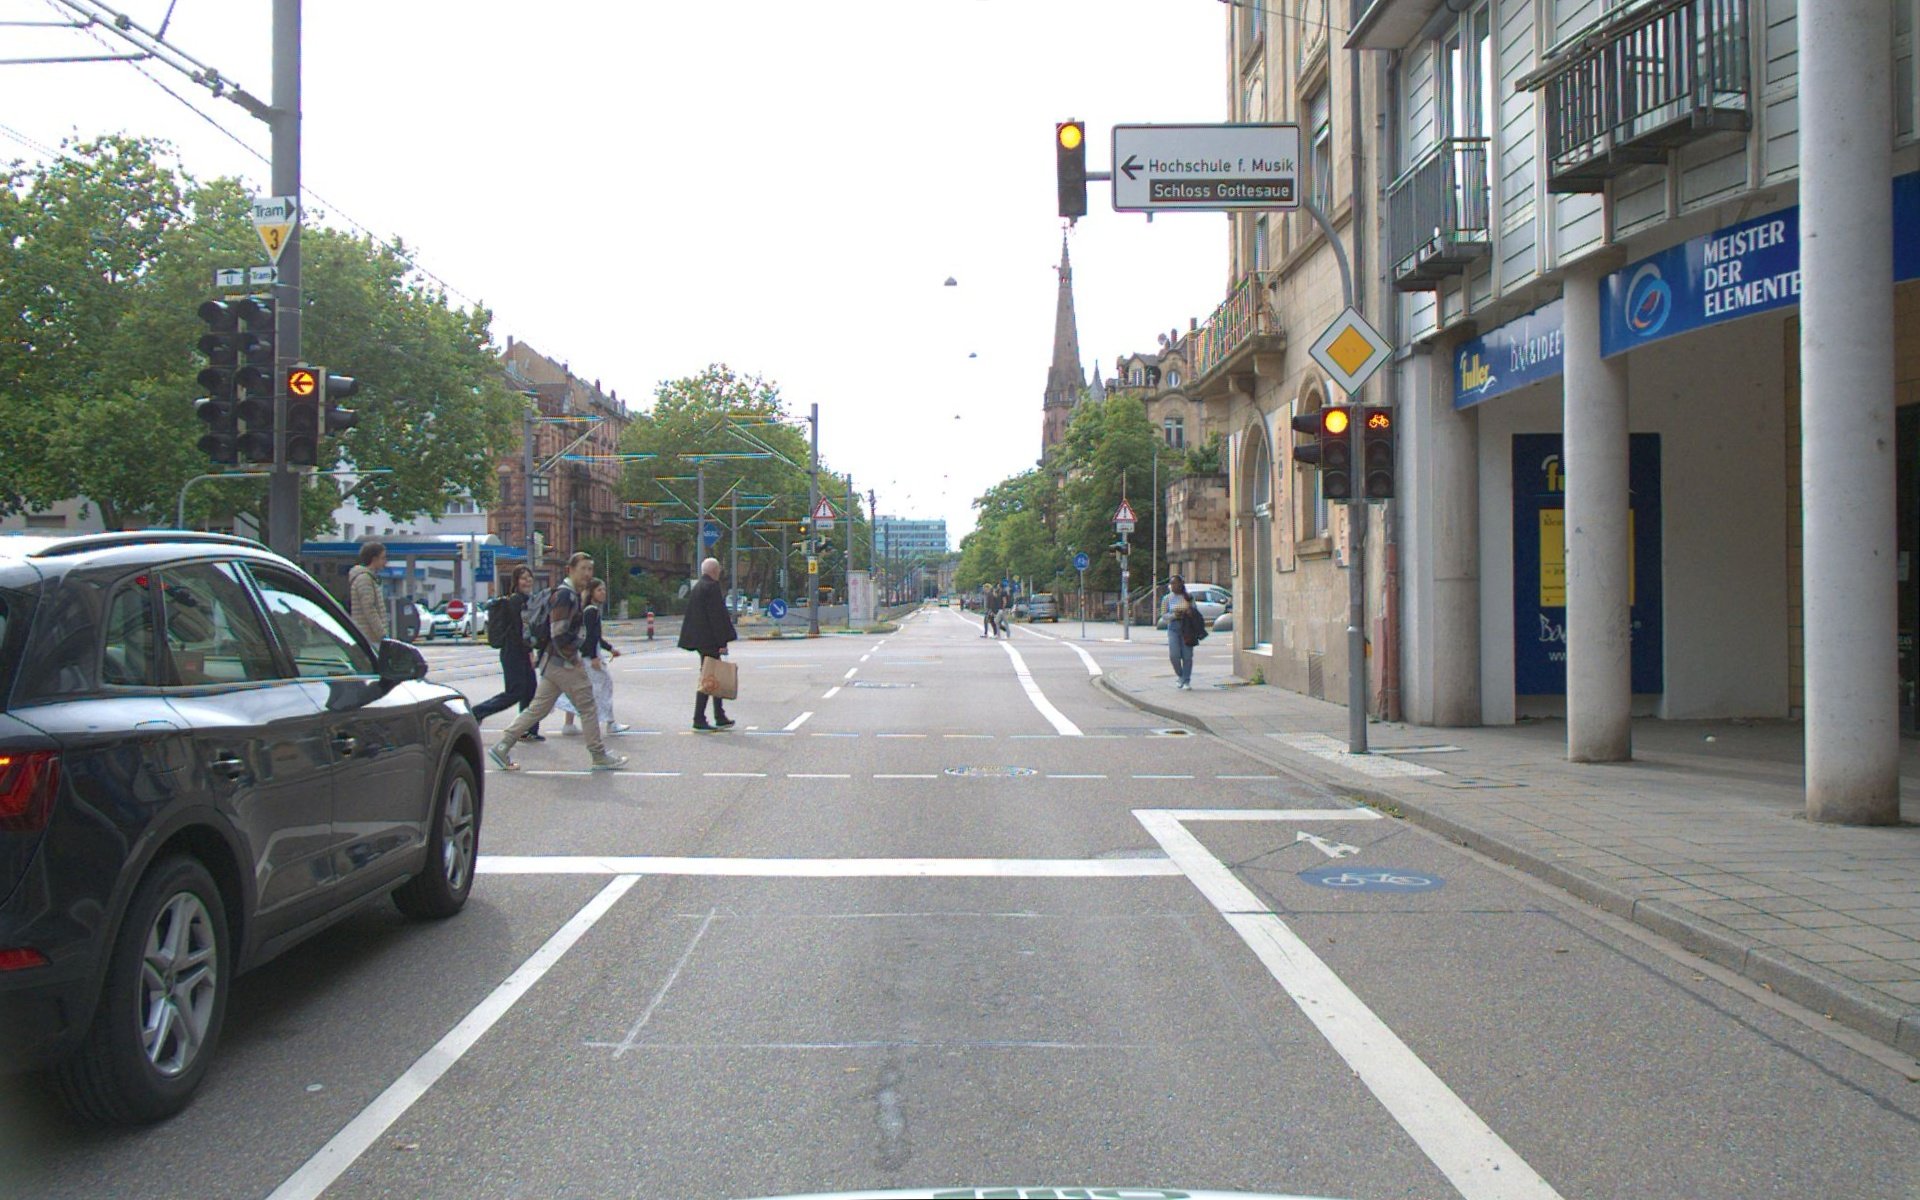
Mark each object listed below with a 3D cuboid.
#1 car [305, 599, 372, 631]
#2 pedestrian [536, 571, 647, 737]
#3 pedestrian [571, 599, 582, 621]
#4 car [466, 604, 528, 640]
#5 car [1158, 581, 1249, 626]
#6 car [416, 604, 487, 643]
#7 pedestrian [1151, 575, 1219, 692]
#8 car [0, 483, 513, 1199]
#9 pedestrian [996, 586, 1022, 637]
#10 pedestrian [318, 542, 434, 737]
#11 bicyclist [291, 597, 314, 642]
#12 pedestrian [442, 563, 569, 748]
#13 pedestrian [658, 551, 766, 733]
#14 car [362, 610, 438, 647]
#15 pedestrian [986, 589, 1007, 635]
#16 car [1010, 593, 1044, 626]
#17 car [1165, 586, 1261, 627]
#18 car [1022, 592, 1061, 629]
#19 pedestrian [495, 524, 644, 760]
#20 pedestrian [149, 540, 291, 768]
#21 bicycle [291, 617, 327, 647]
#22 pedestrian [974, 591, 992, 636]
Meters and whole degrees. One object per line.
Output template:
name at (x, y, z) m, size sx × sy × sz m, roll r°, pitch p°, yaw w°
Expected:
car at (-31.866, 0.769, 84.878) m, size 1.953 × 1.557 × 3.999 m, roll 1°, pitch 0°, yaw -1°
pedestrian at (-3.699, 0.524, 16.641) m, size 0.689 × 1.621 × 0.828 m, roll 0°, pitch 0°, yaw 36°
pedestrian at (-26.701, 0.688, 115.149) m, size 0.445 × 1.486 × 0.522 m, roll 0°, pitch -1°, yaw 44°
car at (-21.503, 0.999, 76.919) m, size 1.856 × 1.585 × 3.835 m, roll 1°, pitch 0°, yaw -1°
car at (10.775, 0.158, 73.340) m, size 3.721 × 1.937 × 2.000 m, roll 1°, pitch 0°, yaw -1°
car at (-21.495, 0.984, 69.998) m, size 1.856 × 1.585 × 3.835 m, roll 1°, pitch 0°, yaw -1°
pedestrian at (3.365, 0.490, 24.706) m, size 0.659 × 1.709 × 0.864 m, roll 0°, pitch -1°, yaw 38°
car at (-3.026, 0.555, 5.785) m, size 1.842 × 1.629 × 4.356 m, roll 0°, pitch 0°, yaw -2°
pedestrian at (1.631, 0.381, 55.127) m, size 0.834 × 1.683 × 0.508 m, roll 1°, pitch 0°, yaw -3°
pedestrian at (-5.695, 0.383, 16.122) m, size 0.998 × 1.845 × 0.580 m, roll 1°, pitch 0°, yaw -24°
bicyclist at (-23.643, 0.686, 59.500) m, size 0.576 × 1.595 × 0.618 m, roll 1°, pitch 0°, yaw -1°
pedestrian at (-4.270, 0.503, 15.585) m, size 0.614 × 1.681 × 0.995 m, roll 1°, pitch 0°, yaw 30°
pedestrian at (-2.565, 0.417, 17.093) m, size 0.900 × 1.815 × 0.645 m, roll 0°, pitch -1°, yaw 37°
car at (-21.470, 1.068, 63.521) m, size 1.601 × 1.348 × 3.999 m, roll 1°, pitch 0°, yaw -1°
pedestrian at (1.258, 0.422, 56.887) m, size 0.640 × 1.564 × 0.465 m, roll 1°, pitch 0°, yaw -5°
car at (4.217, 0.591, 104.593) m, size 1.953 × 2.049 × 3.999 m, roll 1°, pitch 0°, yaw -1°
car at (10.663, 0.274, 69.927) m, size 3.721 × 1.629 × 2.000 m, roll 1°, pitch 0°, yaw -1°
car at (4.638, 0.577, 95.091) m, size 1.953 × 2.049 × 3.999 m, roll 1°, pitch 0°, yaw -1°
pedestrian at (-3.114, 0.322, 13.179) m, size 1.113 × 1.810 × 0.625 m, roll 0°, pitch -1°, yaw -18°
pedestrian at (-5.688, 0.406, 12.750) m, size 0.738 × 1.690 × 0.730 m, roll 1°, pitch 0°, yaw -1°
bicycle at (-23.435, 1.153, 59.549) m, size 0.511 × 1.035 × 1.936 m, roll 1°, pitch 0°, yaw -1°
pedestrian at (0.798, 0.462, 57.372) m, size 0.535 × 1.564 × 0.465 m, roll 1°, pitch 0°, yaw -5°
